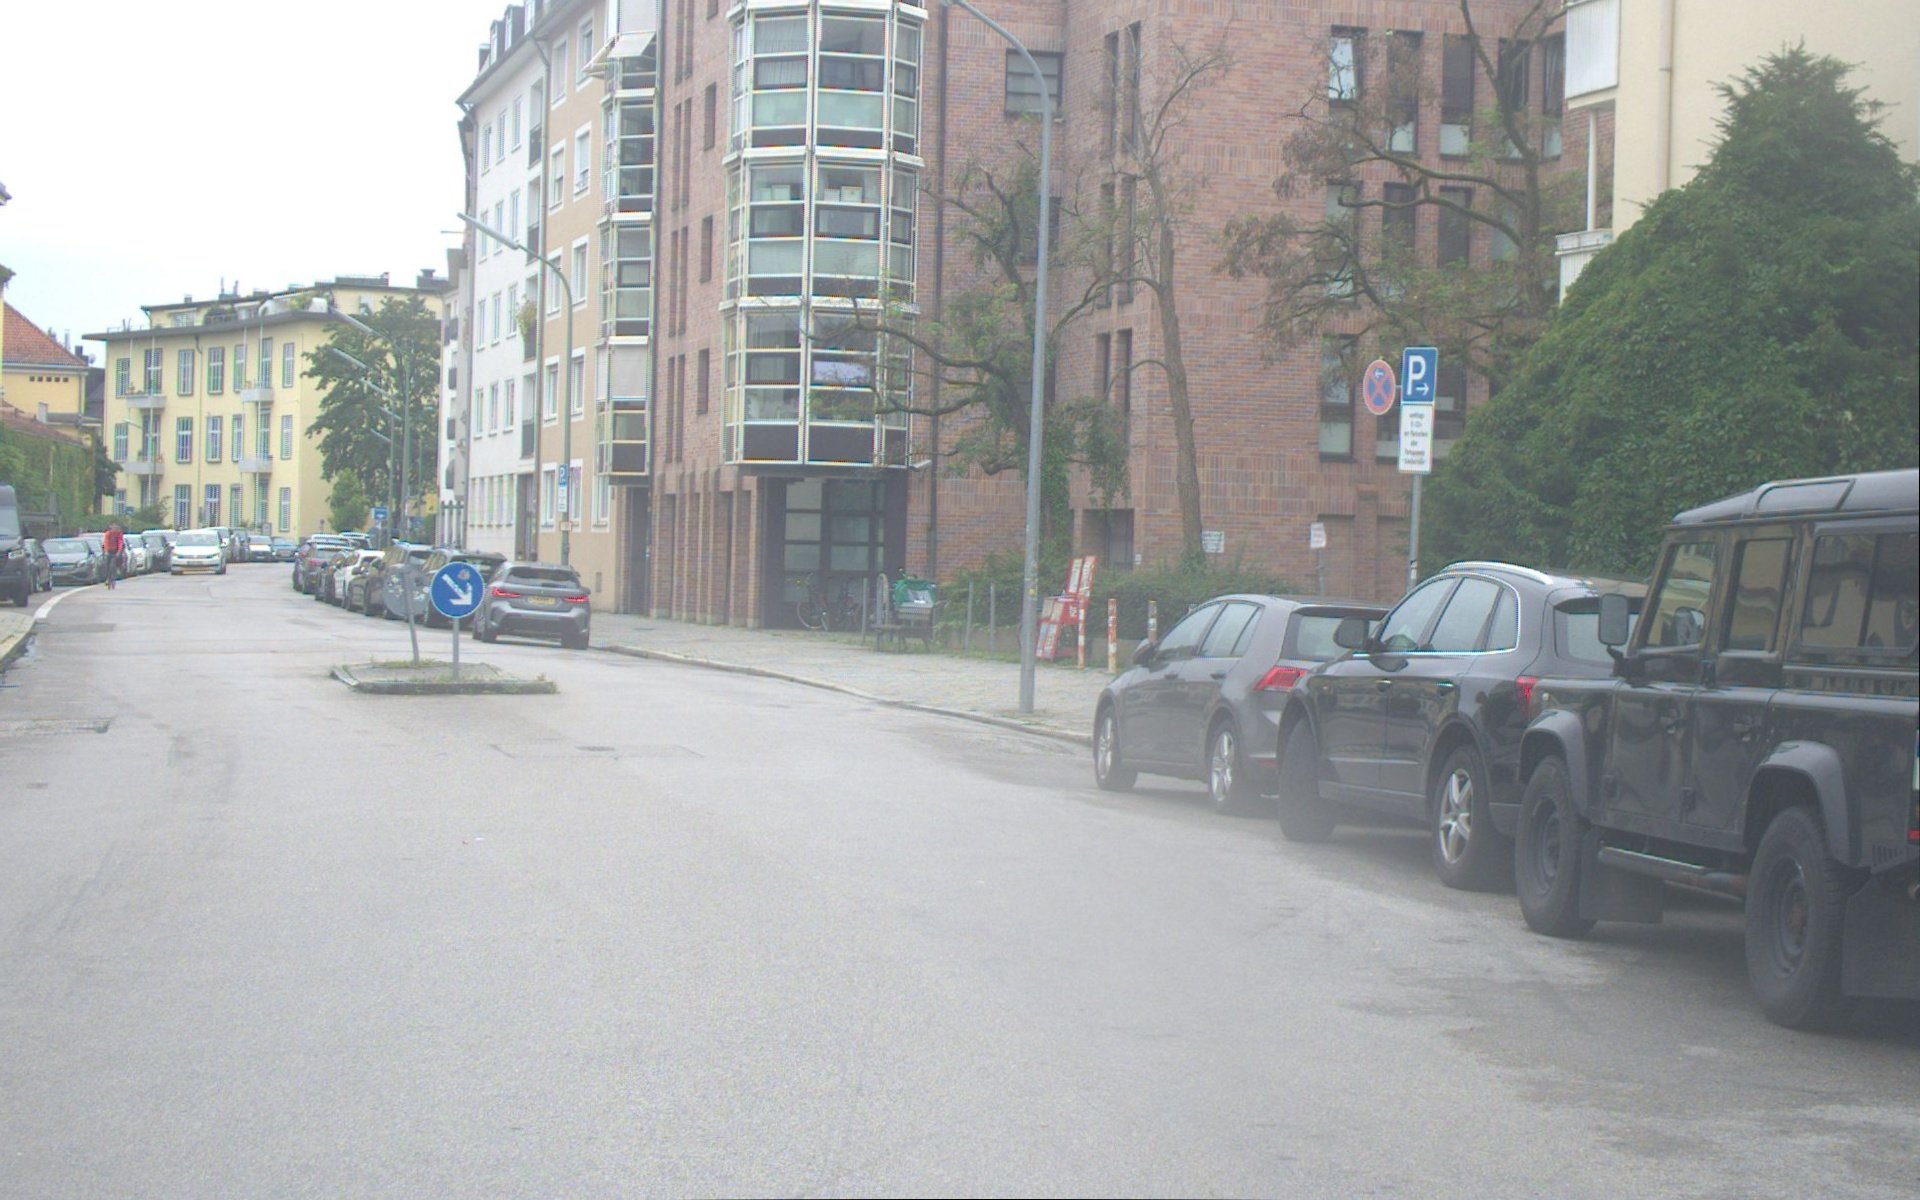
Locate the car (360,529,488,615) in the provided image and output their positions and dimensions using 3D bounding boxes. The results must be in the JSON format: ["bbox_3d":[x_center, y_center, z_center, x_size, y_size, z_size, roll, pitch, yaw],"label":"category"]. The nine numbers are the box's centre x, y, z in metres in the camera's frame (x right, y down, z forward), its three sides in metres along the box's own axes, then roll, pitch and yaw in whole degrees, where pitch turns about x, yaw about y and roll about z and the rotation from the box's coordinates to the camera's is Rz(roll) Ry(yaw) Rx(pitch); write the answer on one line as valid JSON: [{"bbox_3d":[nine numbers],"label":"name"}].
[{"bbox_3d":[-11.674,-0.634,74.604,1.963,1.596,4.673,3,1,-18],"label":"car"}]

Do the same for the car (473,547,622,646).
[{"bbox_3d":[-7.156,-0.094,59.310,1.924,1.507,4.393,4,0,-14],"label":"car"}]

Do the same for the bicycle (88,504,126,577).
[{"bbox_3d":[-23.850,-1.686,96.164,0.748,2.006,2.848,0,2,-8],"label":"bicycle"}]

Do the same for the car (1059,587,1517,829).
[{"bbox_3d":[2.103,0.669,23.227,1.753,1.391,4.046,4,0,-14],"label":"car"}]

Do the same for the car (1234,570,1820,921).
[{"bbox_3d":[2.894,0.680,18.624,1.658,1.560,4.516,3,0,-10],"label":"car"}]

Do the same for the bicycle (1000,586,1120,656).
[{"bbox_3d":[1.523,0.318,52.401,1.700,0.962,0.546,3,1,-14],"label":"bicycle"}]

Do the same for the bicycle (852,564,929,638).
[{"bbox_3d":[-1.237,0.015,60.311,0.534,1.244,2.414,3,-1,-20],"label":"bicycle"}]

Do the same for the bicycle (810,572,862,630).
[{"bbox_3d":[-2.446,0.010,67.754,0.486,1.056,1.996,3,1,-17],"label":"bicycle"}]

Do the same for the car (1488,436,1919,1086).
[{"bbox_3d":[3.605,0.492,13.286,1.747,2.074,4.517,3,1,-8],"label":"car"}]

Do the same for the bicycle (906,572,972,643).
[{"bbox_3d":[-0.355,0.133,58.761,0.420,1.169,1.359,4,1,30],"label":"bicycle"}]

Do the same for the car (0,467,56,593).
[{"bbox_3d":[-21.550,-1.549,76.932,2.421,2.706,5.955,1,0,-16],"label":"car"}]

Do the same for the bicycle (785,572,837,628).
[{"bbox_3d":[-2.938,-0.013,67.608,0.486,1.056,1.996,3,0,-17],"label":"bicycle"}]

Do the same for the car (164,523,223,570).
[{"bbox_3d":[-27.861,-1.940,124.908,2.025,1.616,4.506,0,0,-13],"label":"car"}]

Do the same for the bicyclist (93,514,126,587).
[{"bbox_3d":[-23.897,-1.392,96.598,0.766,2.006,0.768,-2,2,-9],"label":"bicyclist"}]

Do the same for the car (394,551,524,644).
[{"bbox_3d":[-10.192,-0.075,69.697,1.829,1.596,4.268,3,1,-18],"label":"car"}]

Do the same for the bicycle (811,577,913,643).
[{"bbox_3d":[-1.881,0.199,66.121,1.848,1.143,0.488,3,1,-8],"label":"bicycle"}]

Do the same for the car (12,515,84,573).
[{"bbox_3d":[-27.209,-1.675,102.652,1.772,1.545,3.779,3,1,-12],"label":"car"}]
